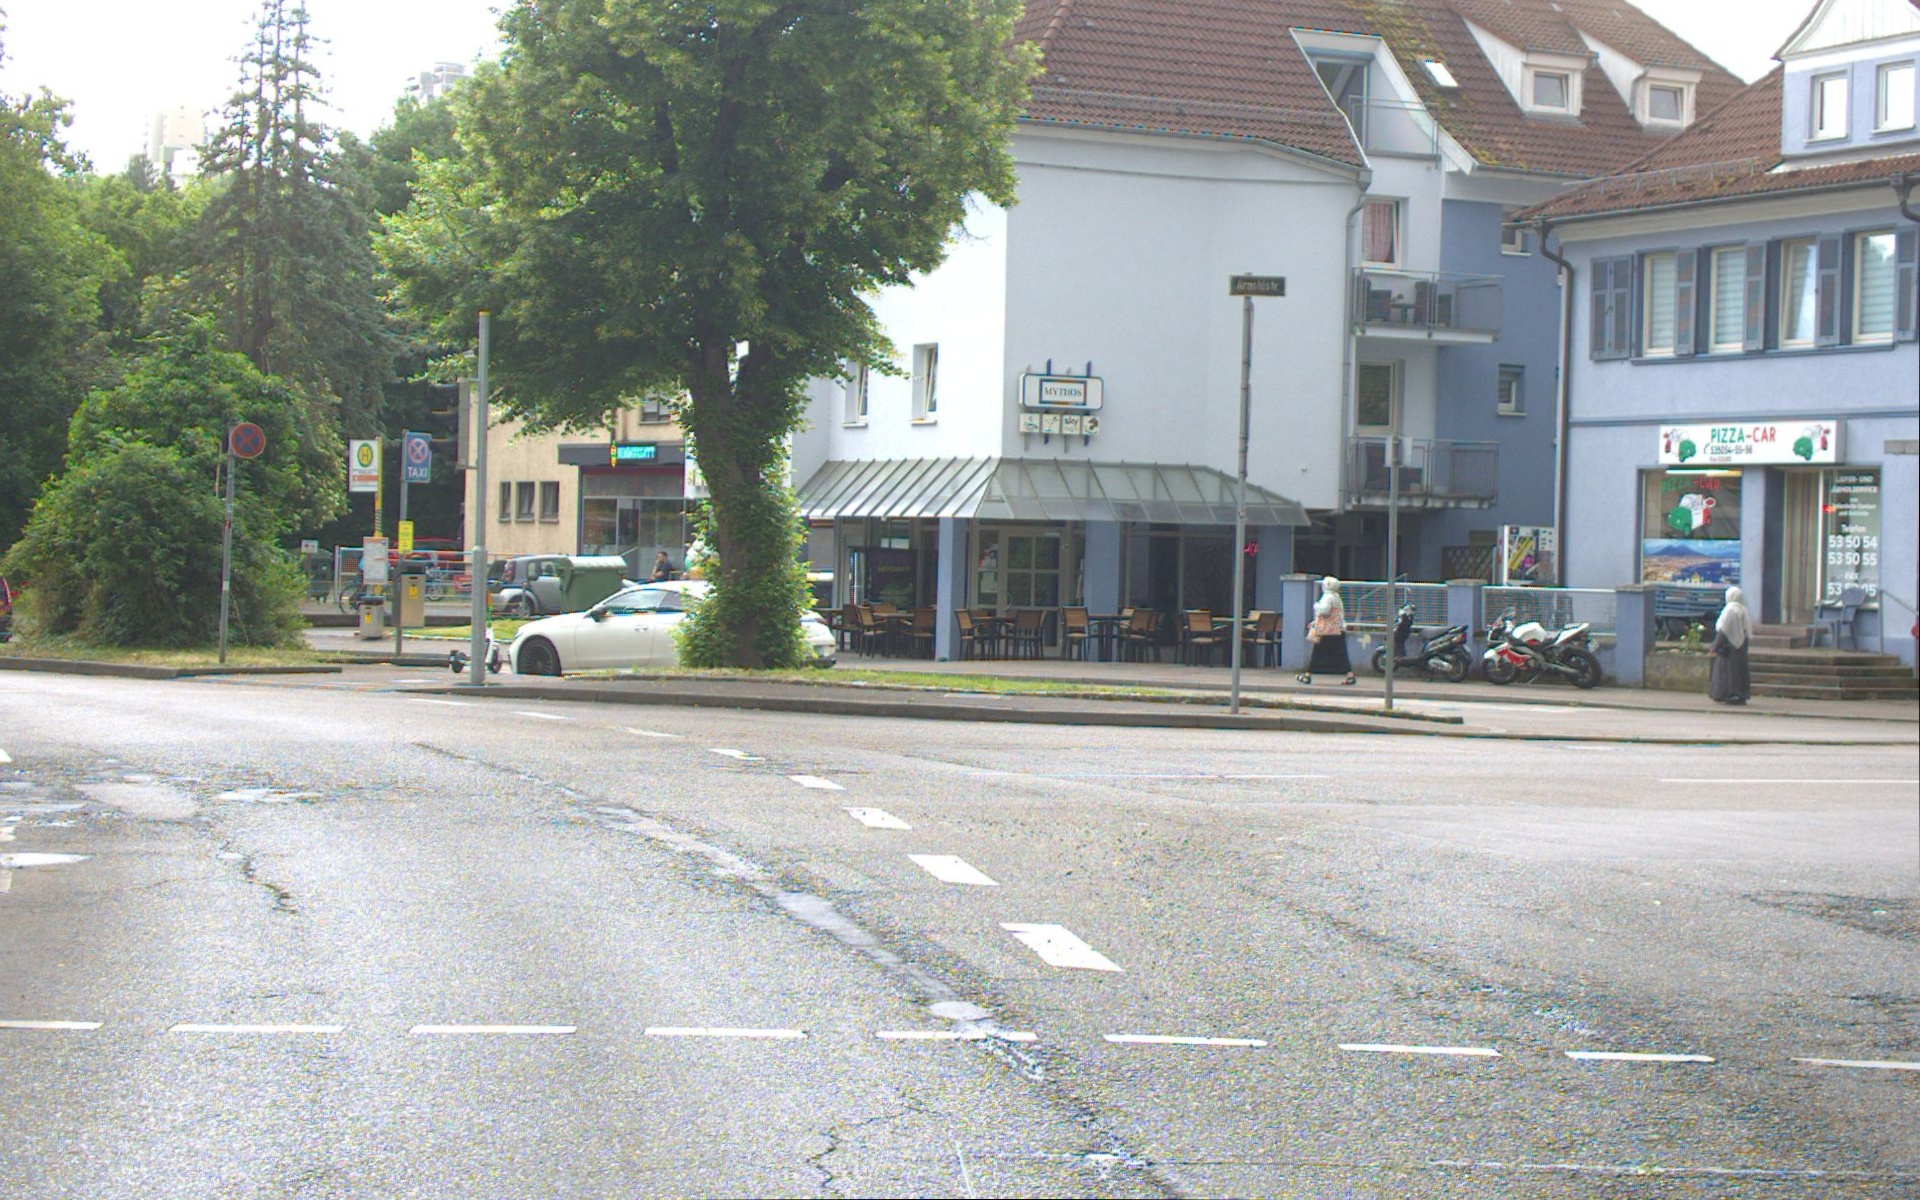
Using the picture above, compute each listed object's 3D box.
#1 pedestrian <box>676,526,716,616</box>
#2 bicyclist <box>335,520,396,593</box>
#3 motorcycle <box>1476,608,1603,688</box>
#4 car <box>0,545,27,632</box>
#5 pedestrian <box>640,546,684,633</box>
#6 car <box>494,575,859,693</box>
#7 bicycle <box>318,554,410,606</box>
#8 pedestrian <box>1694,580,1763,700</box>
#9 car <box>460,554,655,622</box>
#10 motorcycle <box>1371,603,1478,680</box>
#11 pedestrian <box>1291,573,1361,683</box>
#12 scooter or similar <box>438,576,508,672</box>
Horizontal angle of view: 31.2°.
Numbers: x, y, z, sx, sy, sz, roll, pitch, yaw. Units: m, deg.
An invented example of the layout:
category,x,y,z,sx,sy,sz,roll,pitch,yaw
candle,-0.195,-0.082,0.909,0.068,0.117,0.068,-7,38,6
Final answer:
category,x,y,z,sx,sy,sz,roll,pitch,yaw
pedestrian,-4.547,-0.498,59.218,0.543,1.554,0.467,0,0,13
bicyclist,-13.586,-0.990,78.559,0.917,1.646,0.986,1,1,40
motorcycle,8.150,0.666,48.357,1.628,1.085,0.626,1,1,32
car,-16.419,-0.212,53.513,3.322,1.347,1.778,1,1,27
pedestrian,-7.016,-0.252,80.945,0.837,2.007,1.056,1,1,-14
car,-3.804,0.424,45.753,4.709,1.405,1.898,2,1,35
bicycle,-13.614,-0.452,78.557,0.875,1.145,1.948,2,1,39
pedestrian,10.098,0.519,45.170,0.695,1.554,0.665,1,0,31
car,-8.856,-0.262,75.622,3.936,1.437,1.753,1,1,-20
motorcycle,6.774,0.595,50.127,1.458,1.085,0.523,1,1,35
pedestrian,5.247,0.395,49.272,0.732,1.554,0.767,1,0,31
scooter or similar,-6.029,0.286,42.609,0.442,1.171,1.437,1,1,9
